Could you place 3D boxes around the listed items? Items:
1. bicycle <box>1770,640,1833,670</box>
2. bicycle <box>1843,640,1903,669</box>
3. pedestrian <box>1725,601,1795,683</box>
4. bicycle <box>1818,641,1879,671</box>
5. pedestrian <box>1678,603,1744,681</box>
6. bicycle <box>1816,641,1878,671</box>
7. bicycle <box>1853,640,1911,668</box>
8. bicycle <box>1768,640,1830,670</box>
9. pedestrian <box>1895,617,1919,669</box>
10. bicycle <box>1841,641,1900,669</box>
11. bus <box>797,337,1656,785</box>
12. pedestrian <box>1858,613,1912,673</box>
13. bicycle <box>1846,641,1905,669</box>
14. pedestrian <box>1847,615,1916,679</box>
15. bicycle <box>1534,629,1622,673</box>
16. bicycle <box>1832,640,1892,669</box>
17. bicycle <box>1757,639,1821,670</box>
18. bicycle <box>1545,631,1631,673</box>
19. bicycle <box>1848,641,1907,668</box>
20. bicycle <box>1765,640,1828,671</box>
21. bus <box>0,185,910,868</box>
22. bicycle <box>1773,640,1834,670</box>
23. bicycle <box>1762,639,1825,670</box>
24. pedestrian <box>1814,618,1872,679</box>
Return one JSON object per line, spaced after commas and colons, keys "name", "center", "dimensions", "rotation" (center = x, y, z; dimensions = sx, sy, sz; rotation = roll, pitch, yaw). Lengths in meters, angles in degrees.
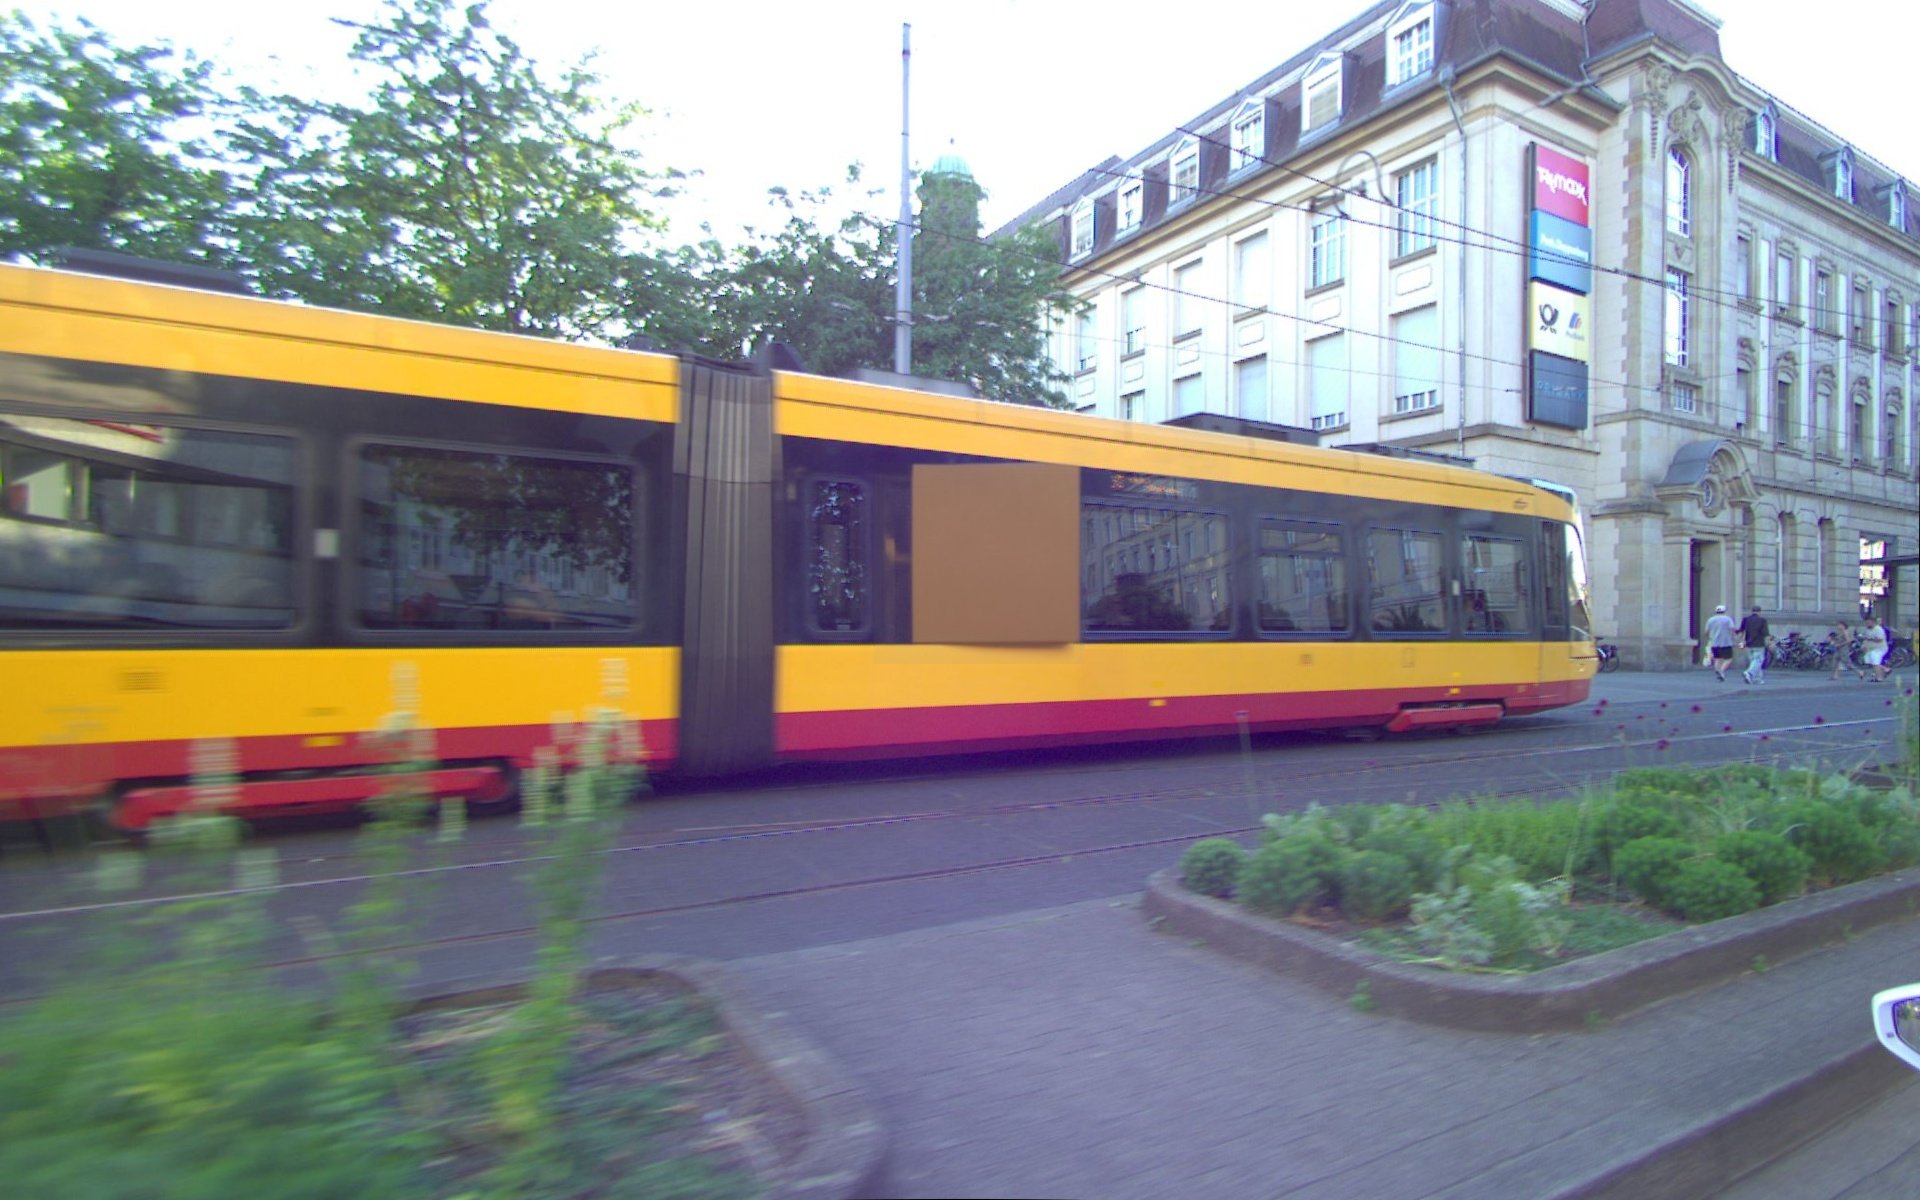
{"name": "bicycle", "center": [28.291, 1.843, 33.783], "dimensions": [0.356, 0.961, 1.569], "rotation": [3, -2, -41]}
{"name": "bicycle", "center": [33.299, 1.983, 36.646], "dimensions": [0.356, 0.961, 1.569], "rotation": [3, -2, -41]}
{"name": "pedestrian", "center": [18.474, 0.965, 23.200], "dimensions": [0.893, 1.834, 0.961], "rotation": [3, -2, -24]}
{"name": "bicycle", "center": [31.153, 1.953, 35.231], "dimensions": [0.356, 0.961, 1.569], "rotation": [2, -2, -41]}
{"name": "pedestrian", "center": [18.155, 1.009, 24.283], "dimensions": [0.893, 1.809, 0.961], "rotation": [3, -2, -24]}
{"name": "bicycle", "center": [30.832, 1.938, 34.925], "dimensions": [0.356, 0.961, 1.569], "rotation": [3, -2, -41]}
{"name": "bicycle", "center": [34.684, 2.023, 37.793], "dimensions": [0.356, 0.961, 1.569], "rotation": [3, -2, -41]}
{"name": "bicycle", "center": [27.981, 1.832, 33.511], "dimensions": [0.356, 0.961, 1.569], "rotation": [3, -2, -41]}
{"name": "pedestrian", "center": [32.497, 1.470, 33.993], "dimensions": [0.866, 1.742, 0.874], "rotation": [2, -2, -6]}
{"name": "bicycle", "center": [32.960, 1.979, 36.370], "dimensions": [0.356, 0.961, 1.569], "rotation": [3, -2, -41]}
{"name": "bus", "center": [4.028, -0.153, 12.363], "dimensions": [11.683, 3.660, 2.809], "rotation": [2, -1, -30]}
{"name": "pedestrian", "center": [27.170, 1.261, 29.517], "dimensions": [1.117, 1.732, 0.869], "rotation": [3, -2, -29]}
{"name": "bicycle", "center": [33.640, 2.004, 36.925], "dimensions": [0.356, 0.961, 1.569], "rotation": [3, -2, -40]}
{"name": "pedestrian", "center": [23.026, 1.154, 25.124], "dimensions": [1.016, 1.534, 0.719], "rotation": [2, 0, 14]}
{"name": "bicycle", "center": [17.684, 1.446, 28.785], "dimensions": [0.569, 1.163, 2.084], "rotation": [3, -2, -34]}
{"name": "bicycle", "center": [32.506, 1.962, 36.223], "dimensions": [0.356, 0.961, 1.569], "rotation": [3, -2, -41]}
{"name": "bicycle", "center": [26.904, 1.762, 32.630], "dimensions": [0.356, 0.961, 1.569], "rotation": [2, -1, -41]}
{"name": "bicycle", "center": [18.220, 1.495, 29.174], "dimensions": [0.569, 1.163, 2.064], "rotation": [3, -2, -34]}
{"name": "bicycle", "center": [33.990, 2.019, 37.224], "dimensions": [0.356, 0.961, 1.569], "rotation": [3, -2, -41]}
{"name": "bicycle", "center": [27.639, 1.814, 33.215], "dimensions": [0.356, 0.961, 1.569], "rotation": [3, -2, -41]}
{"name": "bus", "center": [-4.640, -0.358, 7.331], "dimensions": [8.191, 3.673, 2.809], "rotation": [1, -1, -30]}
{"name": "bicycle", "center": [28.589, 1.862, 34.065], "dimensions": [0.356, 0.961, 1.569], "rotation": [3, -2, -41]}
{"name": "bicycle", "center": [27.335, 1.787, 32.955], "dimensions": [0.356, 0.961, 1.569], "rotation": [3, -2, -41]}
{"name": "pedestrian", "center": [23.015, 1.243, 26.199], "dimensions": [0.846, 1.534, 0.760], "rotation": [2, 0, 14]}
